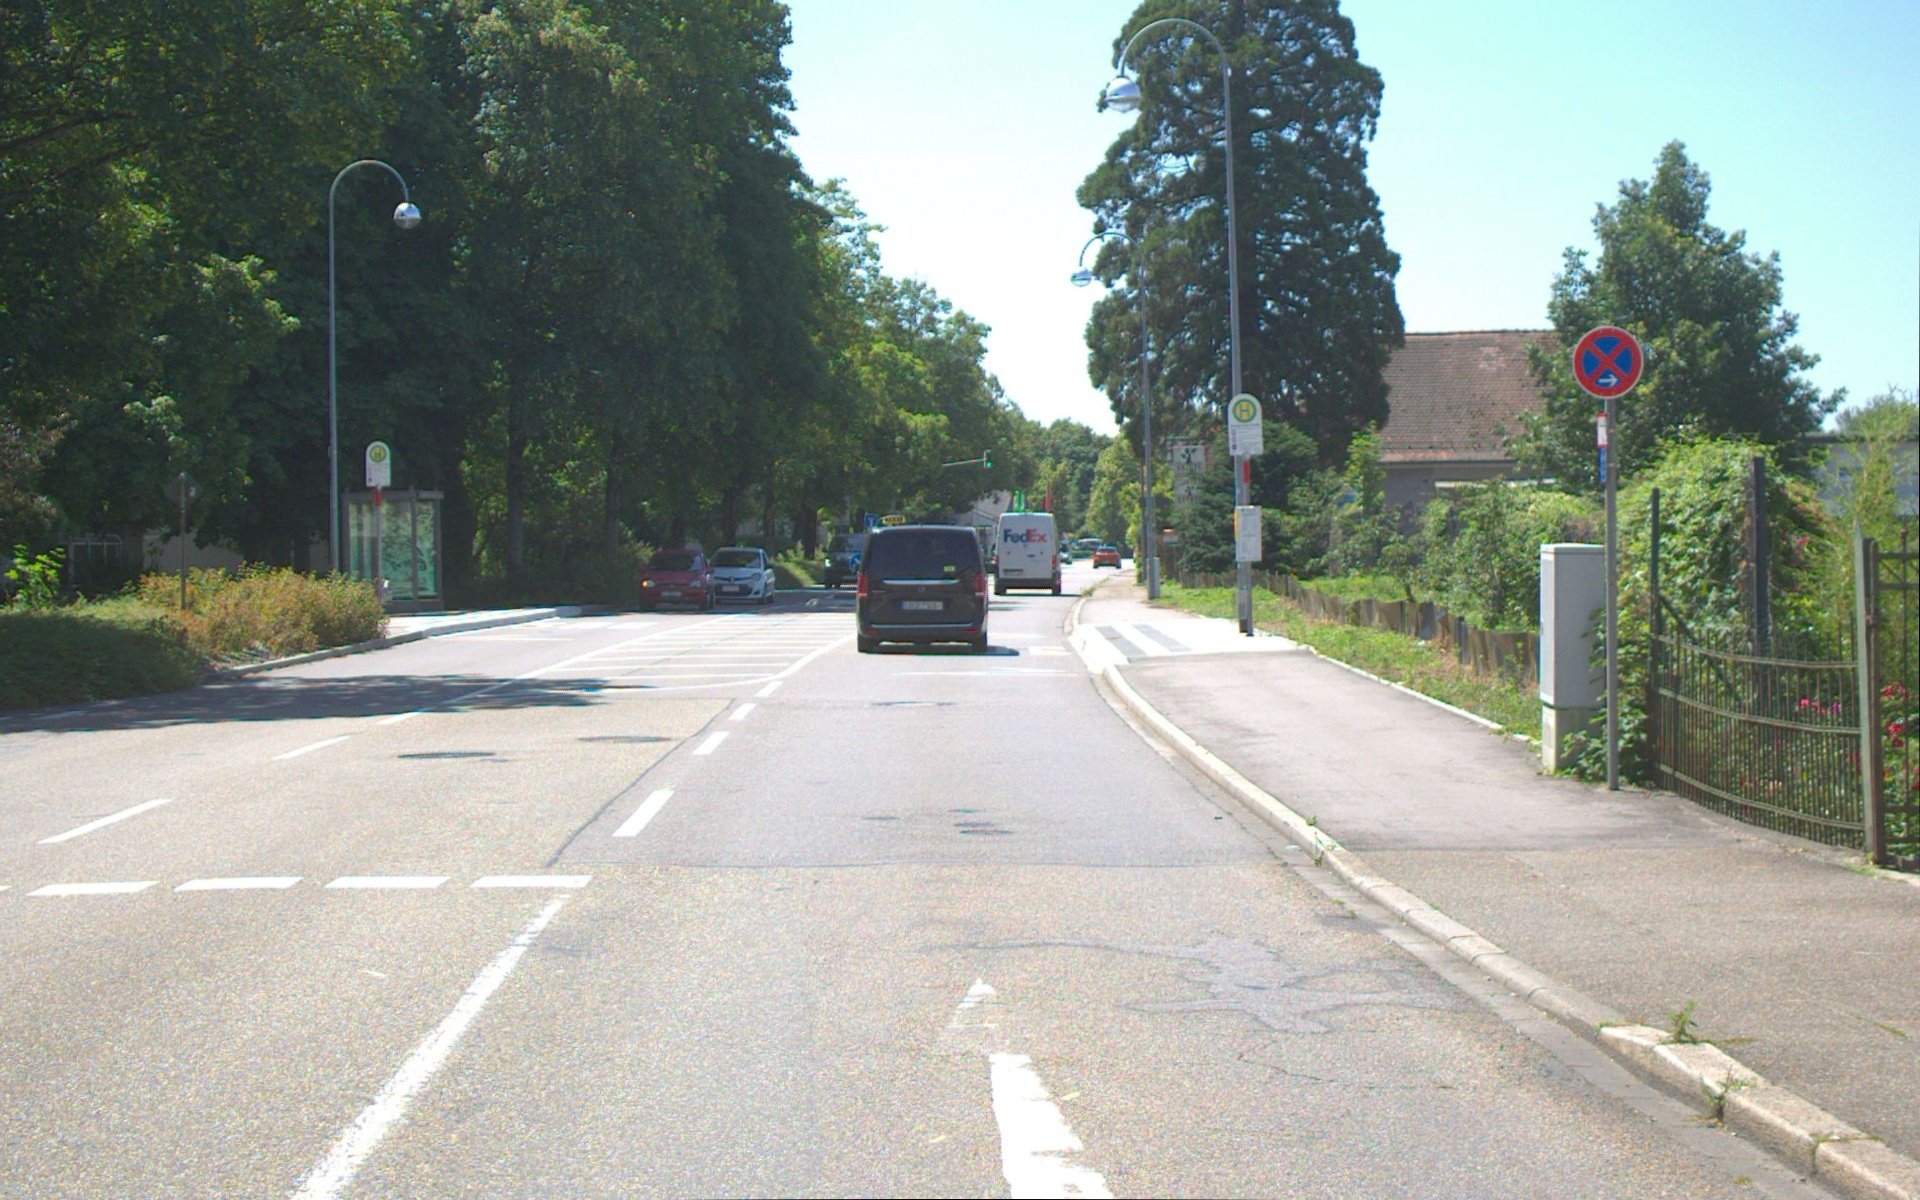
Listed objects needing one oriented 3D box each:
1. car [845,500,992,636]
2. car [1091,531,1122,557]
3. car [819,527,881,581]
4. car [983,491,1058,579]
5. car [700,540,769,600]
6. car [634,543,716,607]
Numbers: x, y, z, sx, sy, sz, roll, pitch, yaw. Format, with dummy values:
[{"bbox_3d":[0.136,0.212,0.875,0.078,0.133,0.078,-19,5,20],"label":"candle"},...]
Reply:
[{"bbox_3d":[-0.646,-0.506,50.184,1.993,1.886,4.001,0,2,-3],"label":"car"},{"bbox_3d":[9.660,-3.738,227.211,1.857,1.637,4.001,0,2,-1],"label":"car"},{"bbox_3d":[-4.004,-1.684,124.479,1.993,1.903,4.992,0,2,-4],"label":"car"},{"bbox_3d":[1.882,-2.080,108.394,2.120,2.668,5.663,0,2,-1],"label":"car"},{"bbox_3d":[-5.851,-0.794,89.060,1.690,1.455,3.640,0,2,-5],"label":"car"},{"bbox_3d":[-6.596,-0.591,79.809,1.550,1.445,3.691,1,1,0],"label":"car"}]
